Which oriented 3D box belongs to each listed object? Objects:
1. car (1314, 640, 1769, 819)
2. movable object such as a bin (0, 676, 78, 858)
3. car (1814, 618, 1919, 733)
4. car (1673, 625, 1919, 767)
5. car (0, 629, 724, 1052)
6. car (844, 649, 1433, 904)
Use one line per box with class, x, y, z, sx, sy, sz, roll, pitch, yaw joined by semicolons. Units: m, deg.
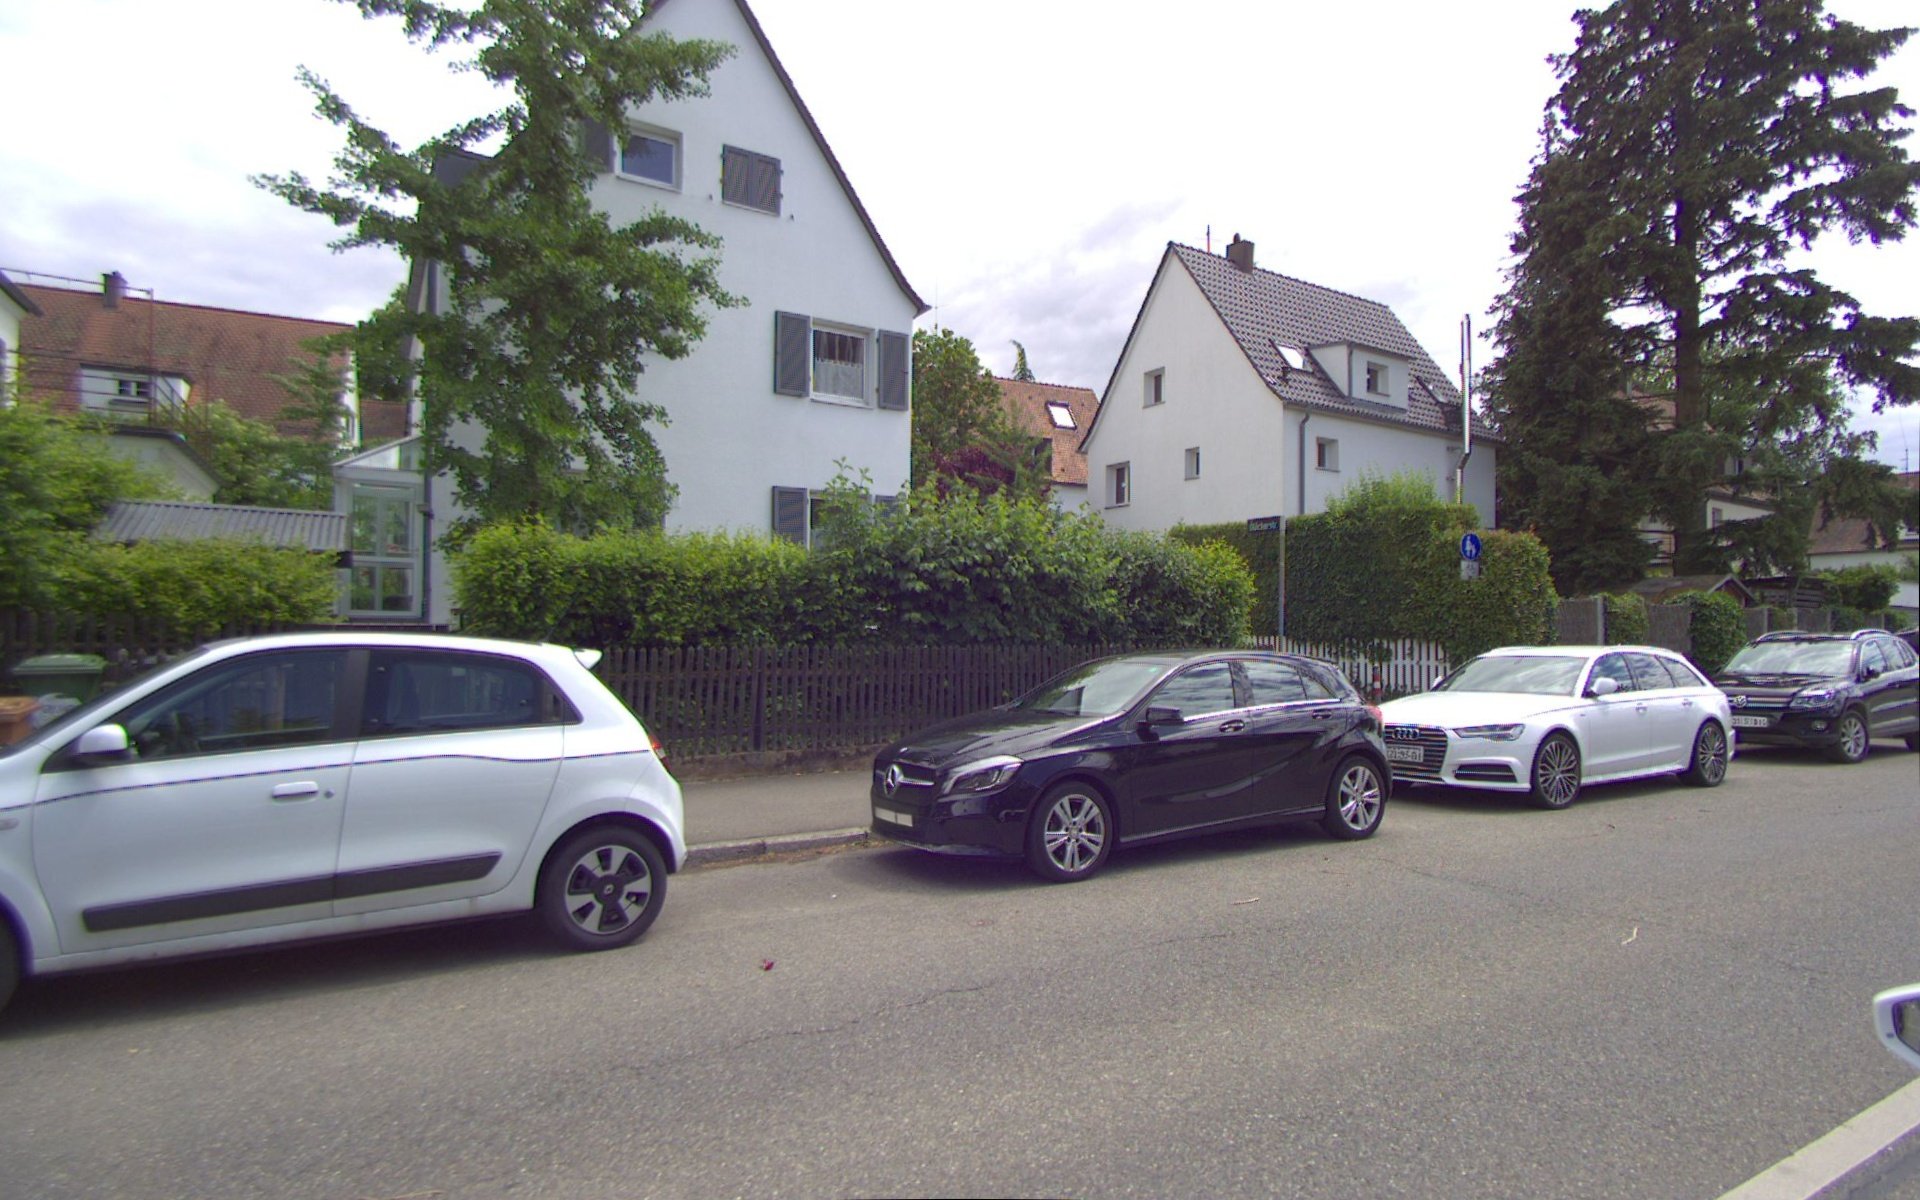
car;6.163;1.188;10.486;5.007;1.478;1.798;1;-3;-29
movable object such as a bin;-6.270;1.071;6.504;0.740;1.095;0.513;1;2;-29
car;16.887;1.245;17.235;4.830;1.778;2.055;2;-1;-32
car;11.917;1.232;13.924;4.531;1.700;1.619;1;-4;-31
car;-3.203;0.948;4.914;3.697;1.563;1.696;1;-3;-29
car;1.425;1.114;7.633;4.270;1.429;1.736;1;-3;-29
